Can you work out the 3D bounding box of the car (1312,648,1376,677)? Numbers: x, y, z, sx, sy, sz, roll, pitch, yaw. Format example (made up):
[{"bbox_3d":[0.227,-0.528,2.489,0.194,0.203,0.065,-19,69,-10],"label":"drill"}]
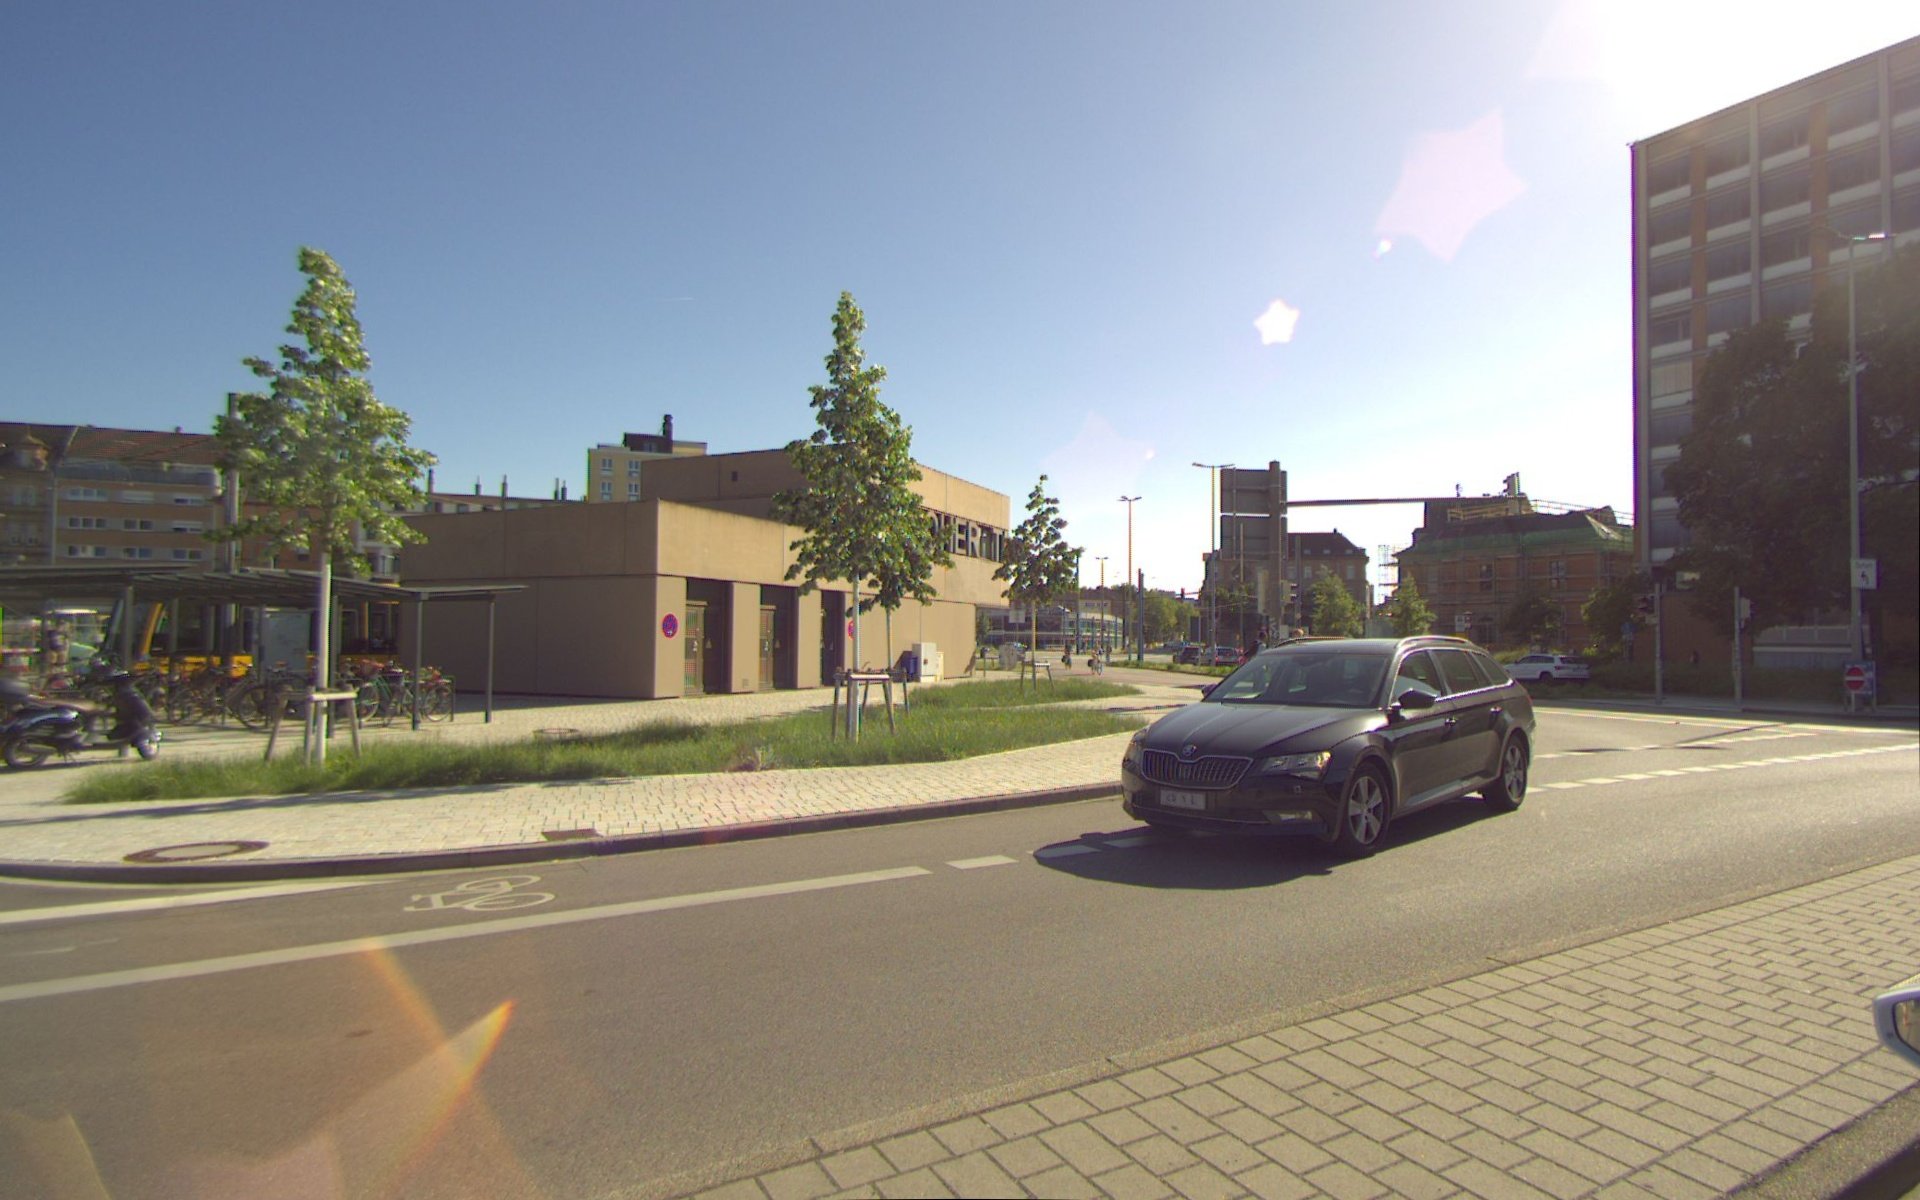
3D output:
[{"bbox_3d":[21.266,3.446,55.812,1.711,1.454,3.844,1,-2,-8],"label":"car"}]

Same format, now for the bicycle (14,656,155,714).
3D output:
[{"bbox_3d":[-17.775,1.697,20.458,0.524,1.051,2.070,5,0,26],"label":"bicycle"}]

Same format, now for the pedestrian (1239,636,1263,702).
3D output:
[{"bbox_3d":[7.833,1.839,27.054,0.585,1.751,0.580,0,-2,14],"label":"pedestrian"}]

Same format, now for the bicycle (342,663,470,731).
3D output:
[{"bbox_3d":[-9.970,1.721,18.163,0.524,1.051,2.070,2,0,26],"label":"bicycle"}]

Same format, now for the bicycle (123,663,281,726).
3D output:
[{"bbox_3d":[-13.712,1.677,18.262,0.673,0.956,2.233,2,0,25],"label":"bicycle"}]

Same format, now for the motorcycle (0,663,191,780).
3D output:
[{"bbox_3d":[-10.852,1.447,12.477,0.558,1.235,2.087,0,-1,21],"label":"motorcycle"}]

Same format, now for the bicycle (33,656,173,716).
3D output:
[{"bbox_3d":[-16.887,1.677,19.850,0.524,1.051,2.070,-2,-2,26],"label":"bicycle"}]

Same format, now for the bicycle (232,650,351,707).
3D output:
[{"bbox_3d":[-13.921,1.615,20.994,0.524,1.051,2.070,2,0,26],"label":"bicycle"}]

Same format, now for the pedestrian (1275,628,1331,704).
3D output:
[{"bbox_3d":[8.395,1.624,24.592,1.085,1.822,0.703,2,-5,-15],"label":"pedestrian"}]

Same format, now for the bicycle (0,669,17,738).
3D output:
[{"bbox_3d":[-14.721,1.541,14.426,0.399,0.985,1.683,2,0,22],"label":"bicycle"}]

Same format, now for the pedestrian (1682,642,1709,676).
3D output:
[{"bbox_3d":[35.651,2.870,48.673,0.549,1.591,0.862,0,-4,-7],"label":"pedestrian"}]

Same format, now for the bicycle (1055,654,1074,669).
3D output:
[{"bbox_3d":[6.226,3.686,60.153,0.674,0.930,1.989,1,-4,-8],"label":"bicycle"}]

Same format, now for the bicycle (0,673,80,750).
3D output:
[{"bbox_3d":[-13.233,1.544,13.814,0.399,0.985,1.683,2,0,22],"label":"bicycle"}]

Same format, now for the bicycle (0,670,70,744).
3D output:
[{"bbox_3d":[-13.699,1.531,14.175,0.399,0.985,1.683,2,0,22],"label":"bicycle"}]

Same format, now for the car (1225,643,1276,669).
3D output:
[{"bbox_3d":[20.034,3.837,69.435,1.810,1.653,4.382,1,-2,-8],"label":"car"}]

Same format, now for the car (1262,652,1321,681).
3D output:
[{"bbox_3d":[20.694,4.131,62.891,1.810,1.653,4.382,1,-2,-8],"label":"car"}]

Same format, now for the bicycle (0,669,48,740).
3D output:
[{"bbox_3d":[-14.203,1.526,14.376,0.399,0.985,1.683,2,0,22],"label":"bicycle"}]

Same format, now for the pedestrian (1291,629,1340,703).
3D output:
[{"bbox_3d":[8.385,1.563,23.733,0.776,1.711,0.792,3,-5,-16],"label":"pedestrian"}]

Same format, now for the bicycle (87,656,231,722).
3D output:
[{"bbox_3d":[-15.020,1.640,18.906,0.524,1.051,2.070,5,1,26],"label":"bicycle"}]

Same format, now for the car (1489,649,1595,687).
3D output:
[{"bbox_3d":[28.108,3.253,48.715,1.811,1.653,4.832,1,-2,-9],"label":"car"}]

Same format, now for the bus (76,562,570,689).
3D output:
[{"bbox_3d":[-18.466,0.868,31.295,2.810,3.112,13.620,0,-2,25],"label":"bus"}]

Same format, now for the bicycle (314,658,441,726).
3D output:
[{"bbox_3d":[-10.801,1.683,18.700,0.594,1.093,2.053,2,0,25],"label":"bicycle"}]

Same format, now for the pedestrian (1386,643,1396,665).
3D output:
[{"bbox_3d":[32.616,4.075,76.009,0.636,1.637,0.548,0,-2,10],"label":"pedestrian"}]

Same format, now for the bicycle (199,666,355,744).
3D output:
[{"bbox_3d":[-10.906,1.650,16.135,0.524,1.051,2.070,2,0,26],"label":"bicycle"}]

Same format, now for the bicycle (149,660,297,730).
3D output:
[{"bbox_3d":[-12.902,1.629,17.658,0.524,1.051,2.070,2,0,26],"label":"bicycle"}]

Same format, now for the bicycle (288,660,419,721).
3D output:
[{"bbox_3d":[-11.765,1.732,19.573,0.679,1.011,2.140,2,0,26],"label":"bicycle"}]

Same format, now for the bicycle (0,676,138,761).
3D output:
[{"bbox_3d":[-12.206,1.574,13.579,0.399,0.985,1.683,2,0,22],"label":"bicycle"}]

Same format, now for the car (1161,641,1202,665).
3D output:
[{"bbox_3d":[16.516,3.936,75.126,1.809,1.653,4.386,1,-2,-4],"label":"car"}]

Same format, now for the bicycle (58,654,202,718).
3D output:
[{"bbox_3d":[-15.905,1.623,19.321,0.524,1.051,2.070,5,1,26],"label":"bicycle"}]

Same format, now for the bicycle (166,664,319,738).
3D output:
[{"bbox_3d":[-11.976,1.654,16.844,0.524,1.051,2.070,2,0,26],"label":"bicycle"}]

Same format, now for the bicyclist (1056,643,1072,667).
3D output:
[{"bbox_3d":[6.232,3.311,60.176,0.674,1.440,1.126,1,-4,-9],"label":"bicyclist"}]

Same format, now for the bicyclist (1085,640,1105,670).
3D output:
[{"bbox_3d":[7.020,2.875,52.145,0.728,1.519,1.071,1,-4,-10],"label":"bicyclist"}]

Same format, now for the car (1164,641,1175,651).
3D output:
[{"bbox_3d":[43.799,9.588,209.835,1.959,2.040,4.003,0,-2,7],"label":"car"}]

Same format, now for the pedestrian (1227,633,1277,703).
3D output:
[{"bbox_3d":[7.380,1.730,25.405,0.831,1.711,0.896,5,-5,-34],"label":"pedestrian"}]

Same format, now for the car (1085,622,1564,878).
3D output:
[{"bbox_3d":[3.247,1.021,8.327,4.752,1.524,1.796,3,-5,-44],"label":"car"}]

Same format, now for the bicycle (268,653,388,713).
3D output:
[{"bbox_3d":[-12.746,1.647,20.329,0.524,1.051,2.070,2,0,26],"label":"bicycle"}]

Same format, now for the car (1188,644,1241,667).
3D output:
[{"bbox_3d":[17.263,3.762,68.327,1.810,1.406,4.895,1,-2,-8],"label":"car"}]

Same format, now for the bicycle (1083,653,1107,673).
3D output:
[{"bbox_3d":[7.007,3.288,52.121,0.727,1.008,1.989,1,-4,-8],"label":"bicycle"}]
